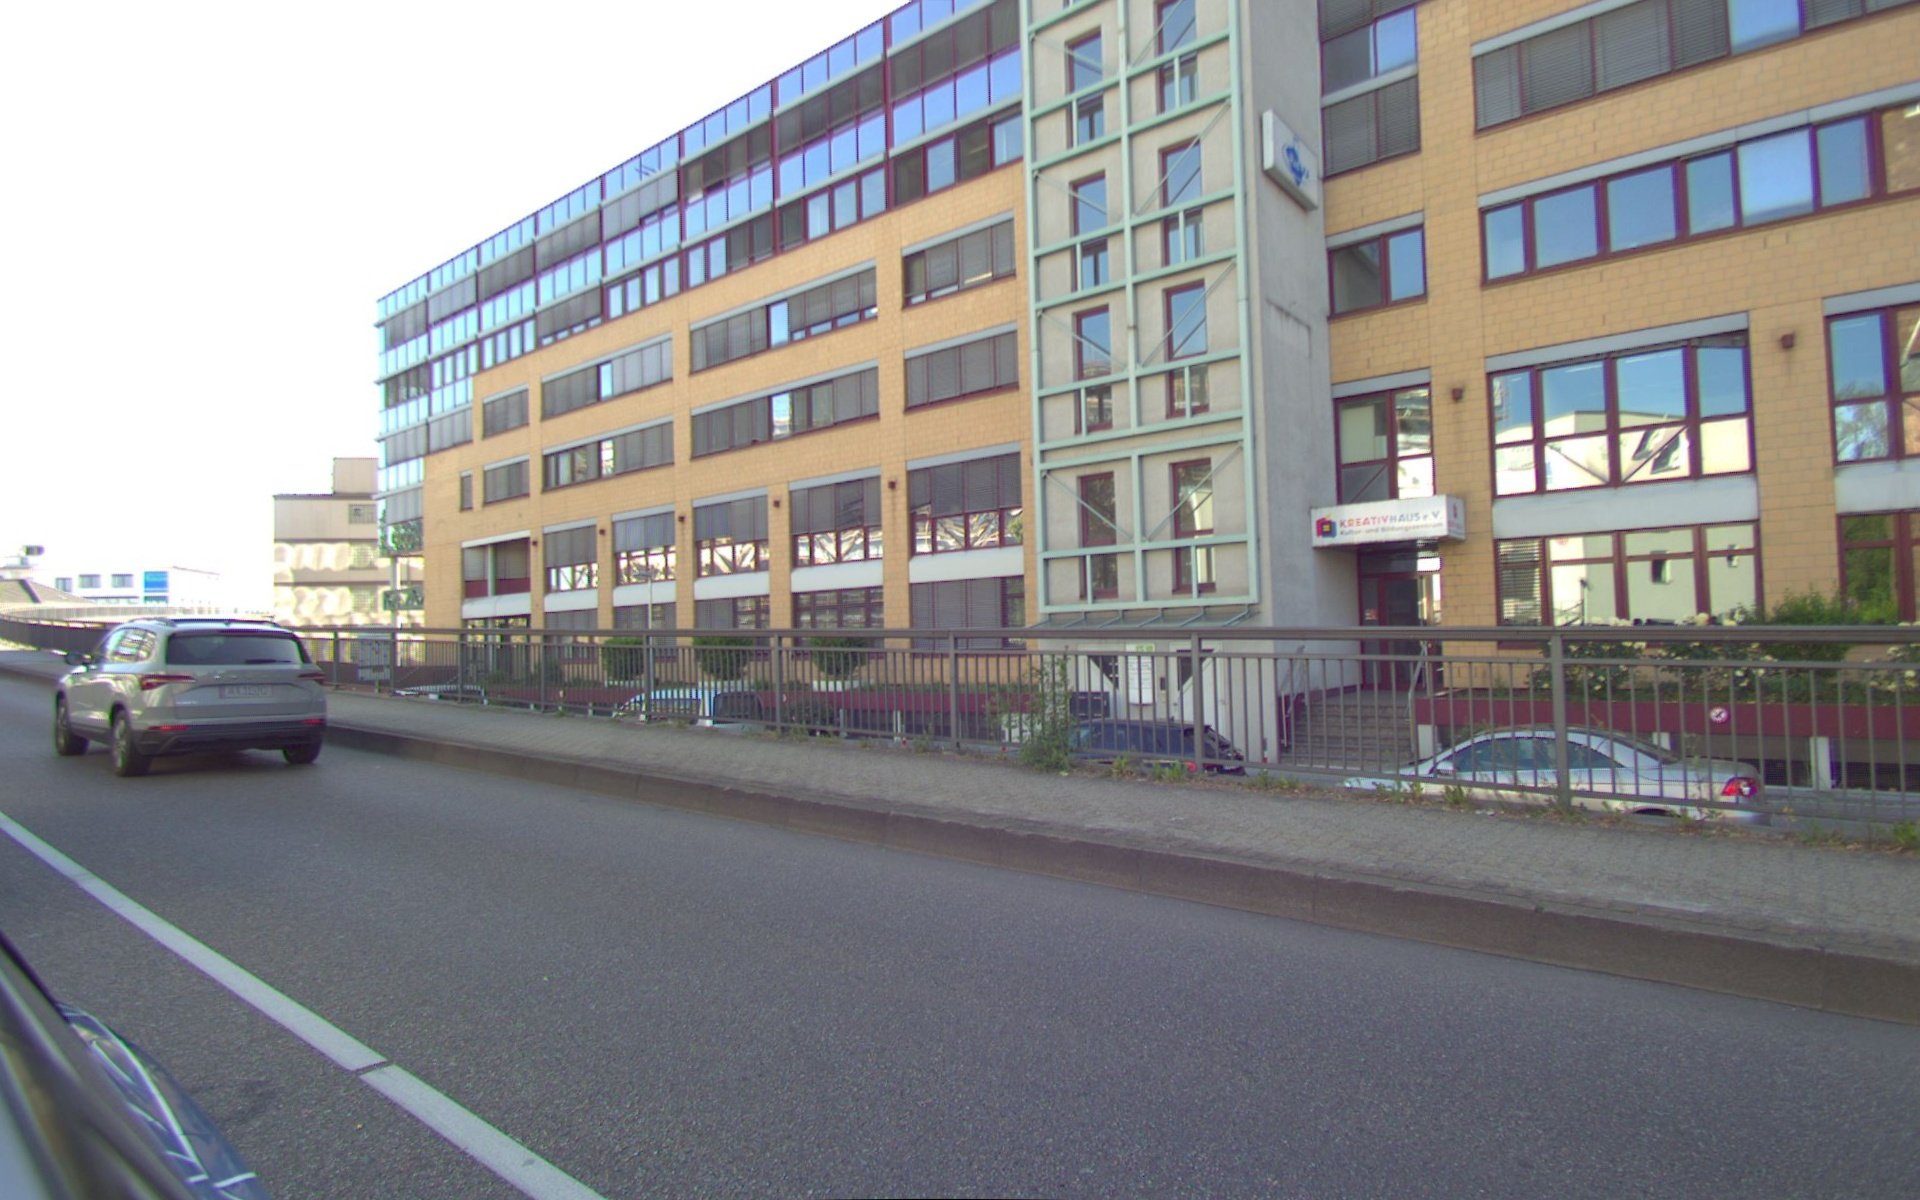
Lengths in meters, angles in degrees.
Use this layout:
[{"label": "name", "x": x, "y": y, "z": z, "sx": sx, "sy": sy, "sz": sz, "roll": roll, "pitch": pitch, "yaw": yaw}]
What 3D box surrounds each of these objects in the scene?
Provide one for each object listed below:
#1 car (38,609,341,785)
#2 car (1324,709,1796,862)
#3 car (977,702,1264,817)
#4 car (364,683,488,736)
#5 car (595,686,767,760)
[{"label": "car", "x": -8.762, "y": 0.975, "z": 11.406, "sx": 3.995, "sy": 1.636, "sz": 1.786, "roll": -1, "pitch": -3, "yaw": 39}, {"label": "car", "x": 6.486, "y": 1.908, "z": 11.253, "sx": 4.253, "sy": 1.175, "sz": 1.704, "roll": -3, "pitch": -4, "yaw": 39}, {"label": "car", "x": 2.219, "y": 2.185, "z": 14.552, "sx": 3.805, "sy": 1.279, "sz": 1.560, "roll": -3, "pitch": -4, "yaw": 39}, {"label": "car", "x": -15.098, "y": 3.036, "z": 28.563, "sx": 3.805, "sy": 1.279, "sz": 1.744, "roll": -3, "pitch": -4, "yaw": 39}, {"label": "car", "x": -5.856, "y": 2.495, "z": 21.089, "sx": 3.805, "sy": 1.279, "sz": 1.560, "roll": -3, "pitch": -4, "yaw": 39}]
